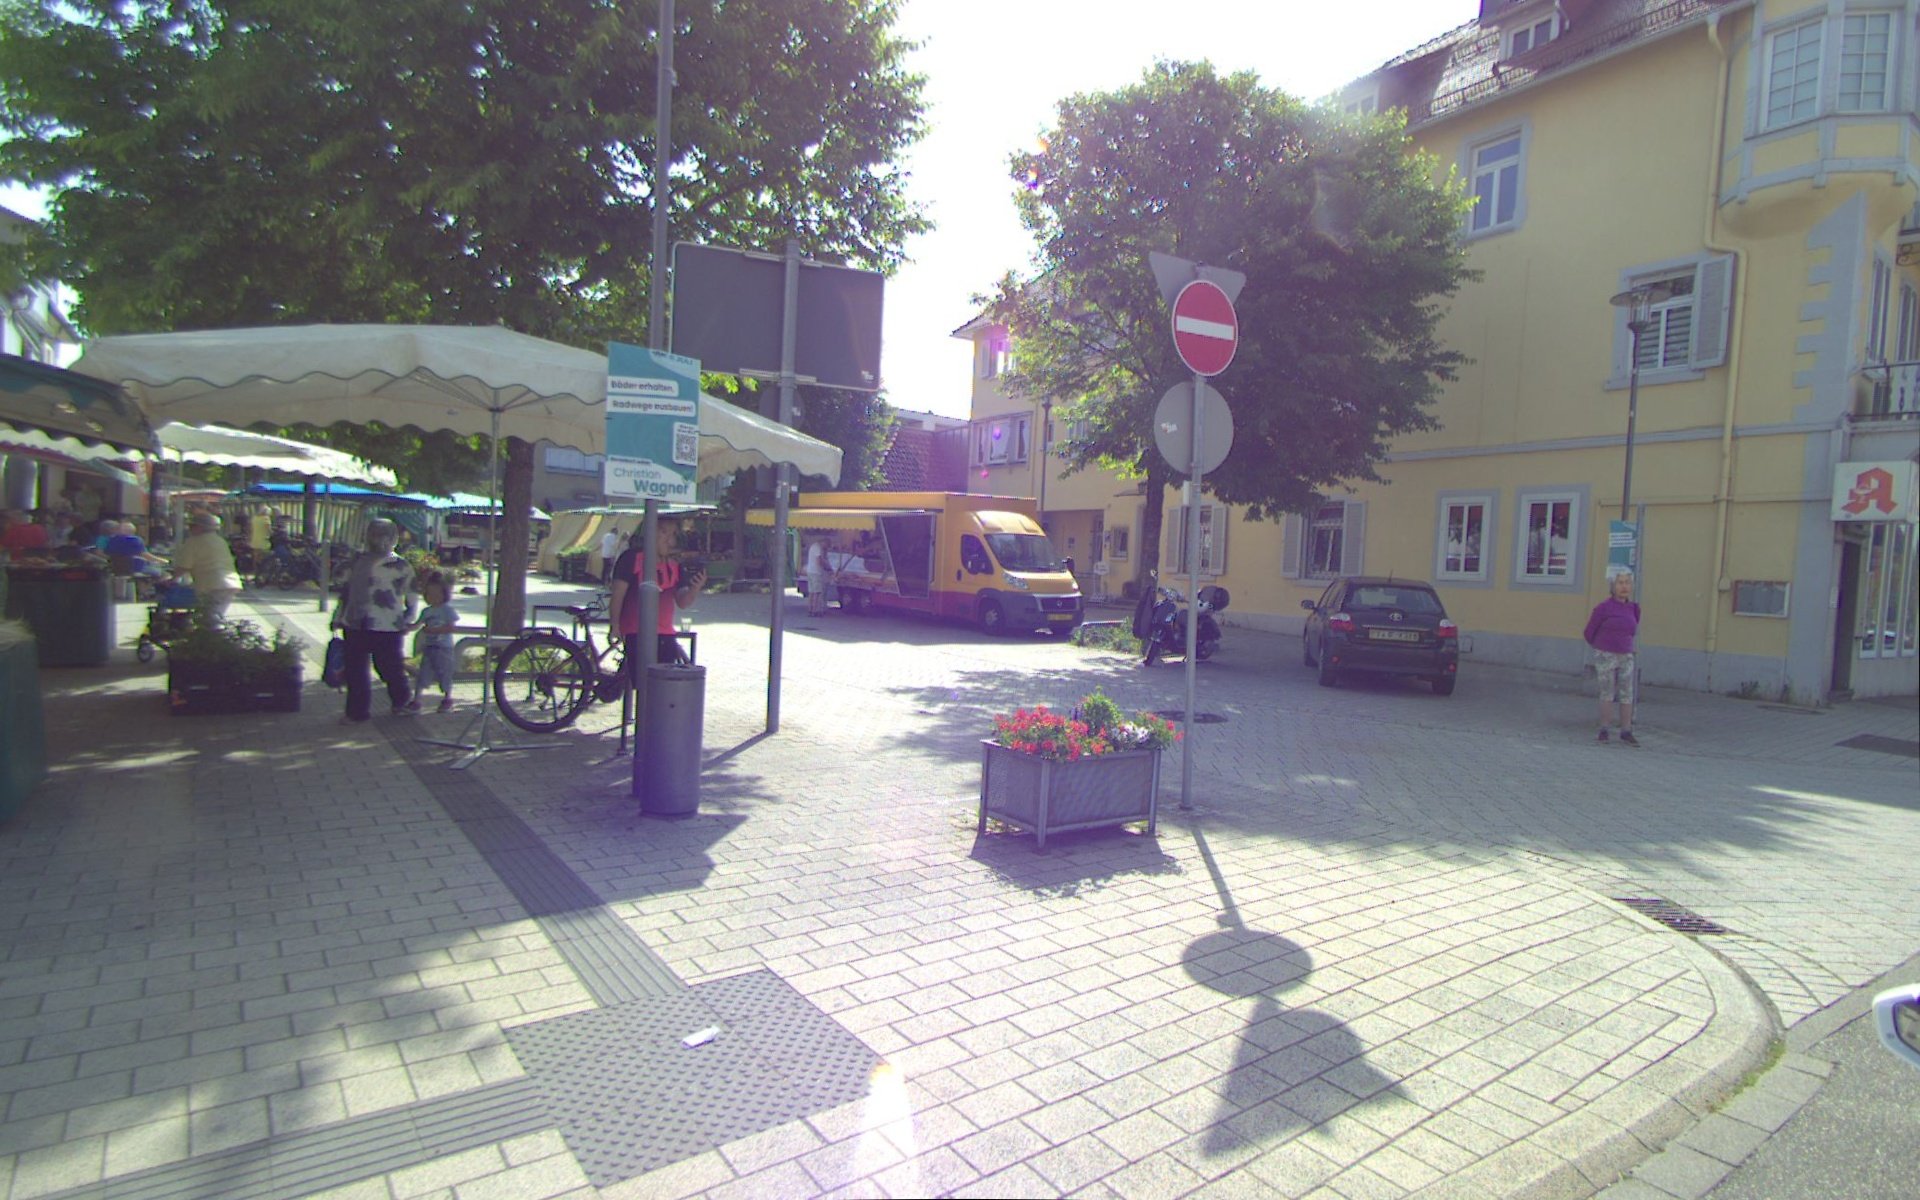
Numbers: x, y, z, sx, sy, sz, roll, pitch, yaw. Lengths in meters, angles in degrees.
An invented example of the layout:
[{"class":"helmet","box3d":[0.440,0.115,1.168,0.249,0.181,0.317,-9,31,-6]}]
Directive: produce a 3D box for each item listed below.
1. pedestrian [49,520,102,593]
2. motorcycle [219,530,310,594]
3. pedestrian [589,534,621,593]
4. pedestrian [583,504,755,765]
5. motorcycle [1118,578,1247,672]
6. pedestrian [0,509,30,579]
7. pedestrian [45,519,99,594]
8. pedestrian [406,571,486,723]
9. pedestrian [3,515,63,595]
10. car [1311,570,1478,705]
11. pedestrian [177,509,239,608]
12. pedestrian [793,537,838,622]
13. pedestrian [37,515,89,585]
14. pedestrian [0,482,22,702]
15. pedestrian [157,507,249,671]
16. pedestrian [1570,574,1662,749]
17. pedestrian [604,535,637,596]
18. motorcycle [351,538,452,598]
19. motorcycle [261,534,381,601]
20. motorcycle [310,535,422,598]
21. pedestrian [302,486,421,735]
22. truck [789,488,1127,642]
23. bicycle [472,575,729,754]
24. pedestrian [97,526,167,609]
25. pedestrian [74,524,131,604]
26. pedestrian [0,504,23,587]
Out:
[{"class":"pedestrian","box3d":[-15.613,-0.775,17.744,0.567,1.217,0.644,4,1,-35]},{"class":"motorcycle","box3d":[-14.851,-0.801,21.468,1.519,1.211,0.637,5,0,-37]},{"class":"pedestrian","box3d":[-10.332,-1.058,29.213,0.573,1.704,0.679,2,3,37]},{"class":"pedestrian","box3d":[-2.004,0.232,6.930,0.877,1.680,0.565,4,1,-41]},{"class":"motorcycle","box3d":[3.561,0.355,15.975,2.069,1.379,0.878,-1,4,-38]},{"class":"pedestrian","box3d":[-17.133,-1.013,17.985,0.567,1.217,0.644,4,1,-35]},{"class":"pedestrian","box3d":[-15.198,-0.750,17.206,0.567,1.217,0.644,4,1,-35]},{"class":"pedestrian","box3d":[-4.189,0.362,8.172,0.510,1.176,0.617,2,1,-32]},{"class":"pedestrian","box3d":[-14.800,-0.717,16.052,0.567,1.217,0.644,4,1,-35]},{"class":"car","box3d":[6.218,0.409,14.792,1.885,1.564,3.958,4,3,19]},{"class":"pedestrian","box3d":[-12.637,-0.693,16.899,0.691,1.574,0.567,4,1,-31]},{"class":"pedestrian","box3d":[-3.184,-0.463,22.102,0.676,1.811,0.718,-2,5,-41]},{"class":"pedestrian","box3d":[-16.305,-0.912,18.270,0.567,1.217,0.644,4,1,-35]},{"class":"pedestrian","box3d":[-7.570,-0.073,7.687,0.518,1.648,0.699,1,1,-41]},{"class":"pedestrian","box3d":[-7.416,-0.106,9.867,0.615,1.538,0.628,2,1,-30]},{"class":"pedestrian","box3d":[6.881,0.616,10.573,0.668,1.738,0.616,3,3,28]},{"class":"pedestrian","box3d":[-9.739,-1.002,28.795,0.573,1.704,0.679,5,4,37]},{"class":"motorcycle","box3d":[-13.003,-0.747,23.398,1.965,1.211,0.644,5,0,5]},{"class":"motorcycle","box3d":[-13.457,-0.670,21.202,1.978,1.211,0.640,5,1,-23]},{"class":"motorcycle","box3d":[-13.129,-0.730,22.265,1.978,1.211,0.640,5,0,-23]},{"class":"pedestrian","box3d":[-4.507,0.071,7.567,0.699,1.747,0.781,2,1,-32]},{"class":"truck","box3d":[-0.502,-0.894,22.661,2.982,2.795,8.768,0,3,-36]},{"class":"bicycle","box3d":[-2.801,0.457,8.008,0.608,1.251,1.853,4,2,40]},{"class":"pedestrian","box3d":[-12.875,-0.495,15.618,0.563,1.217,0.696,5,1,40]},{"class":"pedestrian","box3d":[-13.739,-0.575,16.087,0.641,1.217,0.569,5,1,43]},{"class":"pedestrian","box3d":[-16.077,-0.932,16.652,0.620,1.348,0.693,4,1,-33]}]
